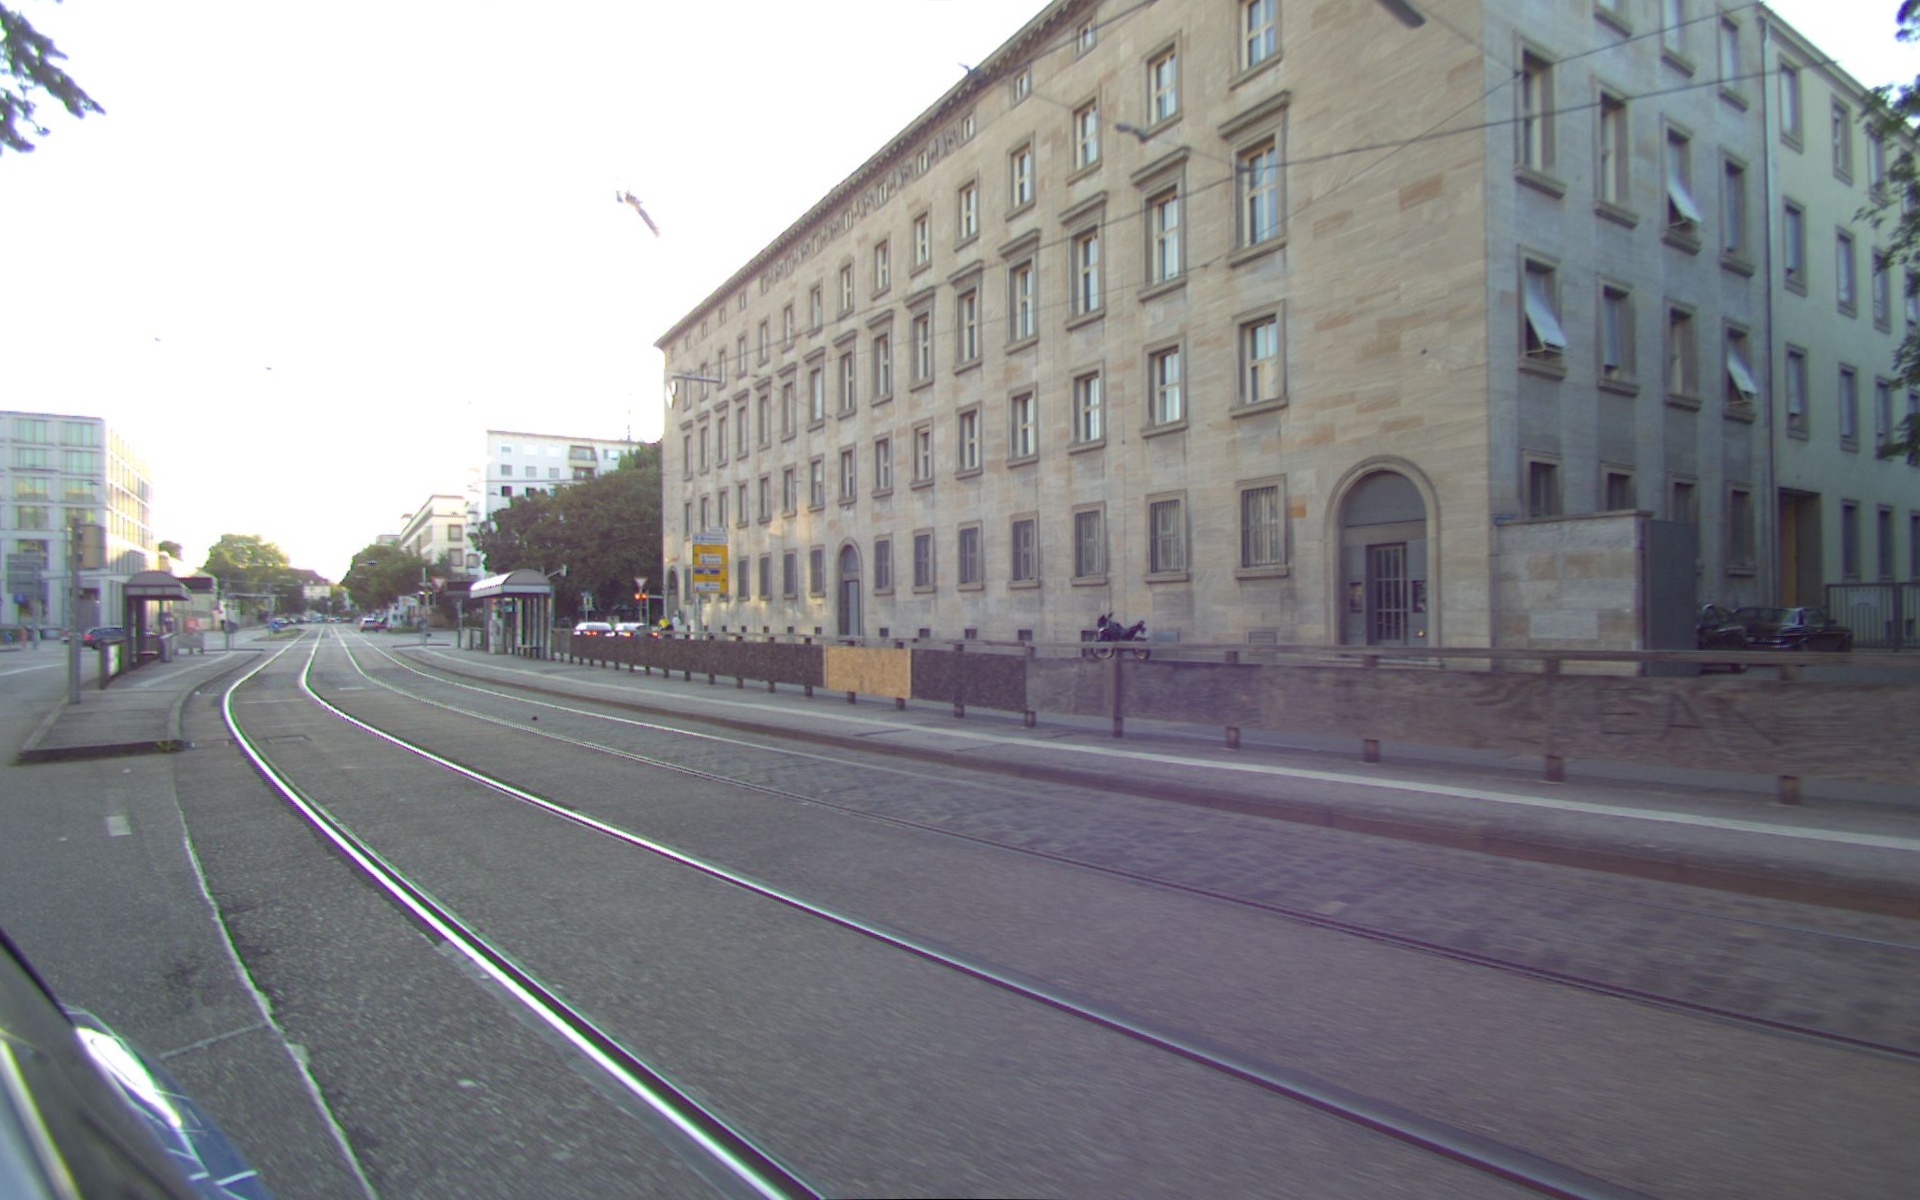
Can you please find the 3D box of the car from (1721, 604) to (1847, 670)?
[{"bbox_3d":[19.267,0.832,23.637,2.963,1.430,1.397,0,-2,-33],"label":"car"}]

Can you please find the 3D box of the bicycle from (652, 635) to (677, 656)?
[{"bbox_3d":[-14.721,2.244,50.326,0.731,1.025,1.766,0,-2,-32],"label":"bicycle"}]

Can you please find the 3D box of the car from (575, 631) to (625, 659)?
[{"bbox_3d":[-19.387,2.393,54.431,1.620,1.438,4.244,0,-2,-32],"label":"car"}]

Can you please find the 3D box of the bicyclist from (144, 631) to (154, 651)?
[{"bbox_3d":[-65.010,3.291,81.127,0.532,1.648,0.598,0,-2,-32],"label":"bicyclist"}]

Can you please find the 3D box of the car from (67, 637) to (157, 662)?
[{"bbox_3d":[-53.064,3.066,63.360,1.698,1.431,4.115,-2,-2,42],"label":"car"}]

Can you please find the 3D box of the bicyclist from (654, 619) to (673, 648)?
[{"bbox_3d":[-14.776,1.672,50.414,0.745,1.451,0.599,0,-2,-32],"label":"bicyclist"}]

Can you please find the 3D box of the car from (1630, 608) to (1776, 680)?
[{"bbox_3d":[16.025,0.910,21.796,3.133,1.430,1.482,0,-2,-33],"label":"car"}]

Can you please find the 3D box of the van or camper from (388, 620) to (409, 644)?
[{"bbox_3d":[-67.553,3.861,121.632,2.076,2.702,4.724,-1,-3,-30],"label":"van or camper"}]

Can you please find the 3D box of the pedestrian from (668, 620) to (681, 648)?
[{"bbox_3d":[-17.862,2.107,63.317,0.686,1.723,0.648,0,-2,-29],"label":"pedestrian"}]

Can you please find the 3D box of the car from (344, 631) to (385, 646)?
[{"bbox_3d":[-71.032,4.558,120.644,4.310,1.676,1.876,-1,-1,18],"label":"car"}]

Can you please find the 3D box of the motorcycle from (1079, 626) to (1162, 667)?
[{"bbox_3d":[4.443,1.273,28.224,0.689,1.083,2.661,1,-2,-32],"label":"motorcycle"}]

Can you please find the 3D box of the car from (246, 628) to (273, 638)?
[{"bbox_3d":[-119.549,5.616,172.669,3.745,1.661,1.868,0,-2,-33],"label":"car"}]

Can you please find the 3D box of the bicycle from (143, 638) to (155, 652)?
[{"bbox_3d":[-65.083,3.587,81.238,0.531,1.059,1.766,0,-2,-32],"label":"bicycle"}]

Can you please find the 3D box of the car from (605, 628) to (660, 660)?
[{"bbox_3d":[-15.883,2.096,49.003,1.620,1.438,3.715,0,-2,-32],"label":"car"}]
